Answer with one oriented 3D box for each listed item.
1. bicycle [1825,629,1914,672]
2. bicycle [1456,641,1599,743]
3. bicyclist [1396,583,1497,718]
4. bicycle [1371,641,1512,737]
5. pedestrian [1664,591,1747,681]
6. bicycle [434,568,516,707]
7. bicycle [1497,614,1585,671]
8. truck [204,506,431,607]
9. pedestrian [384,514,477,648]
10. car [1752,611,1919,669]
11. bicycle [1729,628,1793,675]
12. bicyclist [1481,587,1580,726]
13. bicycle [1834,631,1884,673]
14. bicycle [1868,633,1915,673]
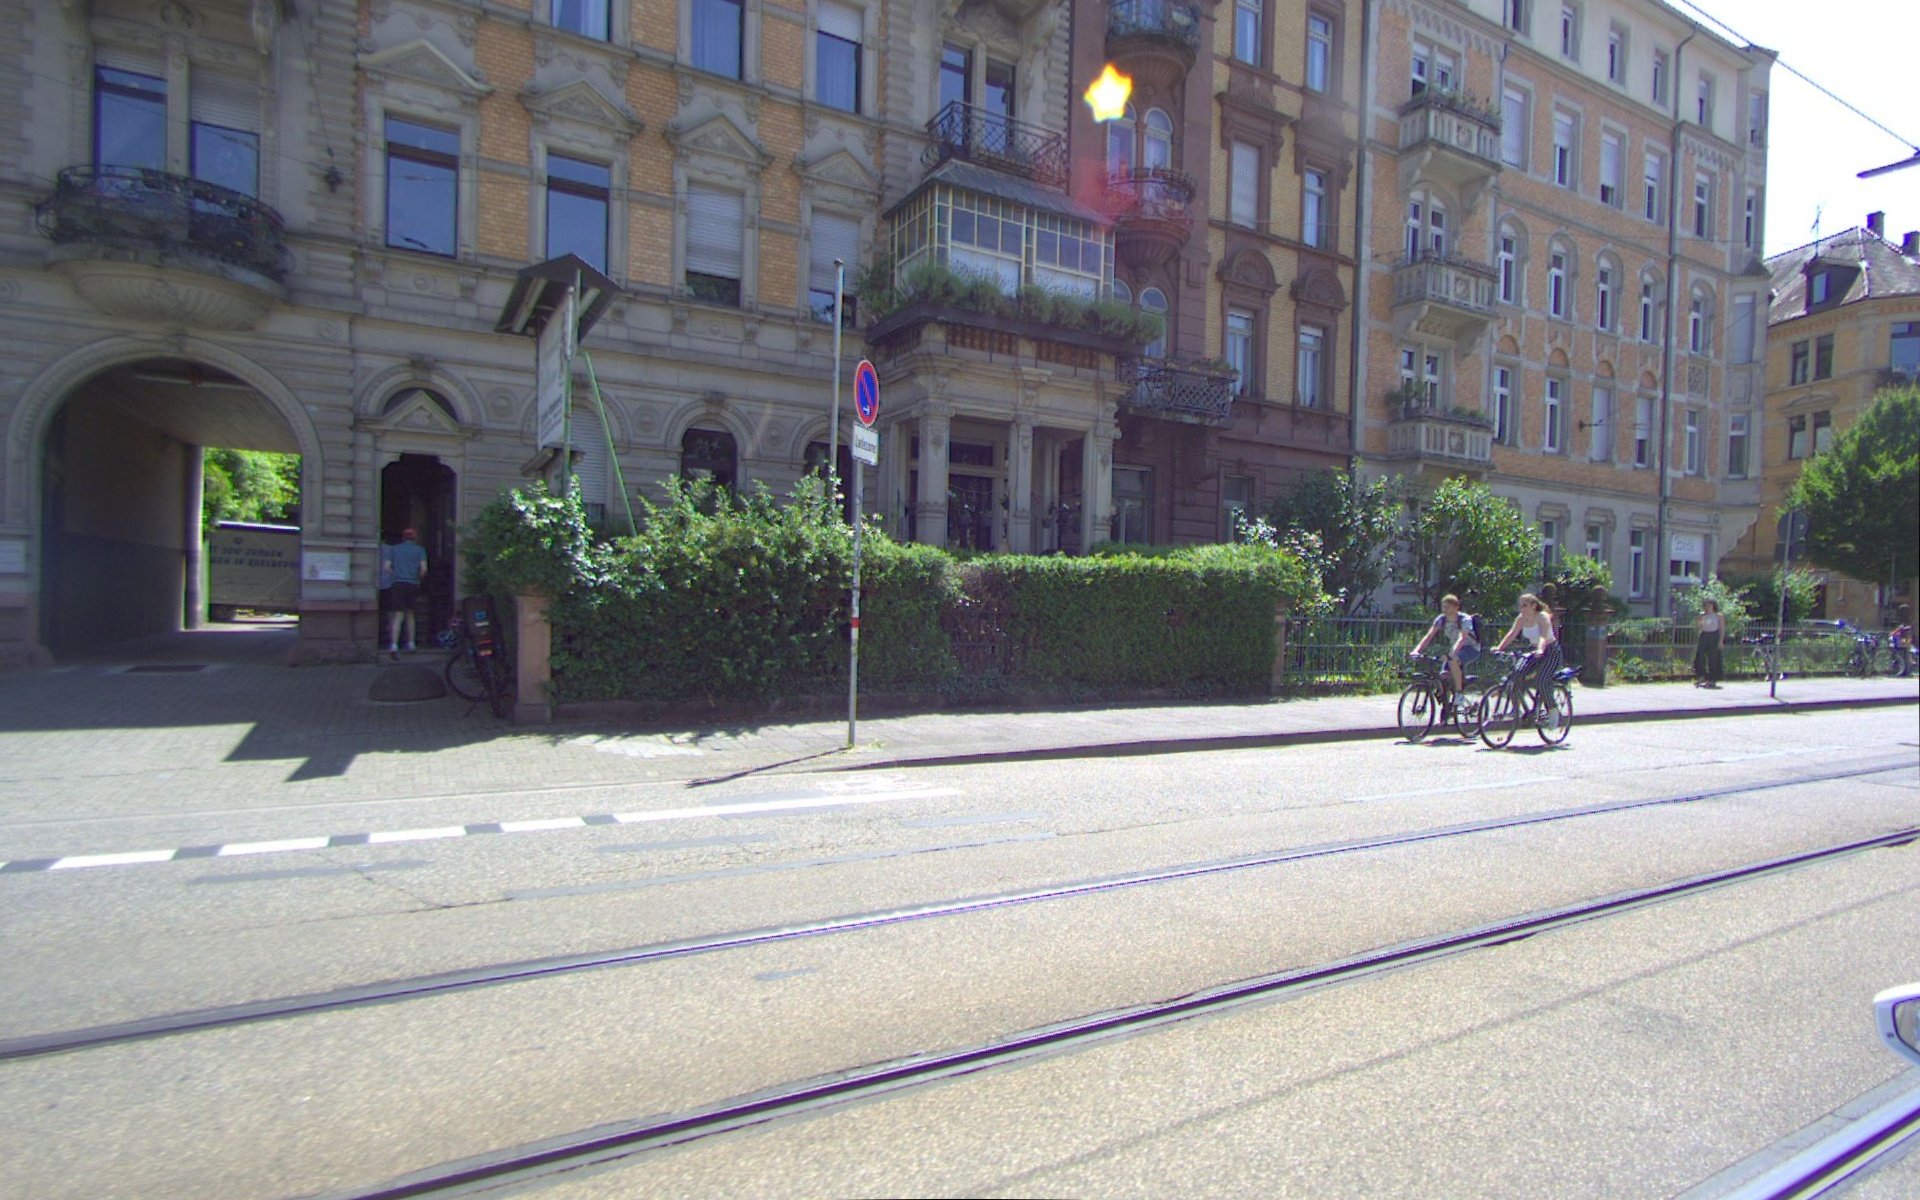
[{"bbox_3d":[25.113,1.393,27.765,0.543,1.051,1.700,2,1,-24],"label":"bicycle"},{"bbox_3d":[6.659,1.044,11.756,1.868,1.092,0.578,2,0,-30],"label":"bicycle"},{"bbox_3d":[6.023,0.606,12.432,1.016,1.605,0.631,1,0,-30],"label":"bicyclist"},{"bbox_3d":[5.961,1.065,12.401,1.853,1.092,0.626,2,0,-30],"label":"bicycle"},{"bbox_3d":[15.278,0.731,20.583,1.125,1.746,0.847,2,4,-29],"label":"pedestrian"},{"bbox_3d":[-5.087,0.339,10.470,0.562,1.244,1.860,1,3,-31],"label":"bicycle"},{"bbox_3d":[11.825,0.858,20.498,0.489,1.057,1.504,1,1,-27],"label":"bicycle"},{"bbox_3d":[-18.441,-1.178,29.017,5.202,2.598,2.071,1,2,-44],"label":"truck"},{"bbox_3d":[-7.774,-0.281,14.777,0.800,1.882,0.879,2,1,13],"label":"pedestrian"},{"bbox_3d":[26.225,1.162,29.901,1.693,1.447,3.743,3,1,-28],"label":"car"},{"bbox_3d":[18.187,1.163,22.801,1.691,1.000,0.494,2,5,-32],"label":"bicycle"},{"bbox_3d":[6.679,0.642,11.764,0.941,1.565,0.589,1,0,-30],"label":"bicyclist"},{"bbox_3d":[22.622,1.298,25.278,1.691,0.996,0.436,2,1,-32],"label":"bicycle"},{"bbox_3d":[24.372,1.371,26.280,1.691,0.996,0.436,2,1,-32],"label":"bicycle"}]
